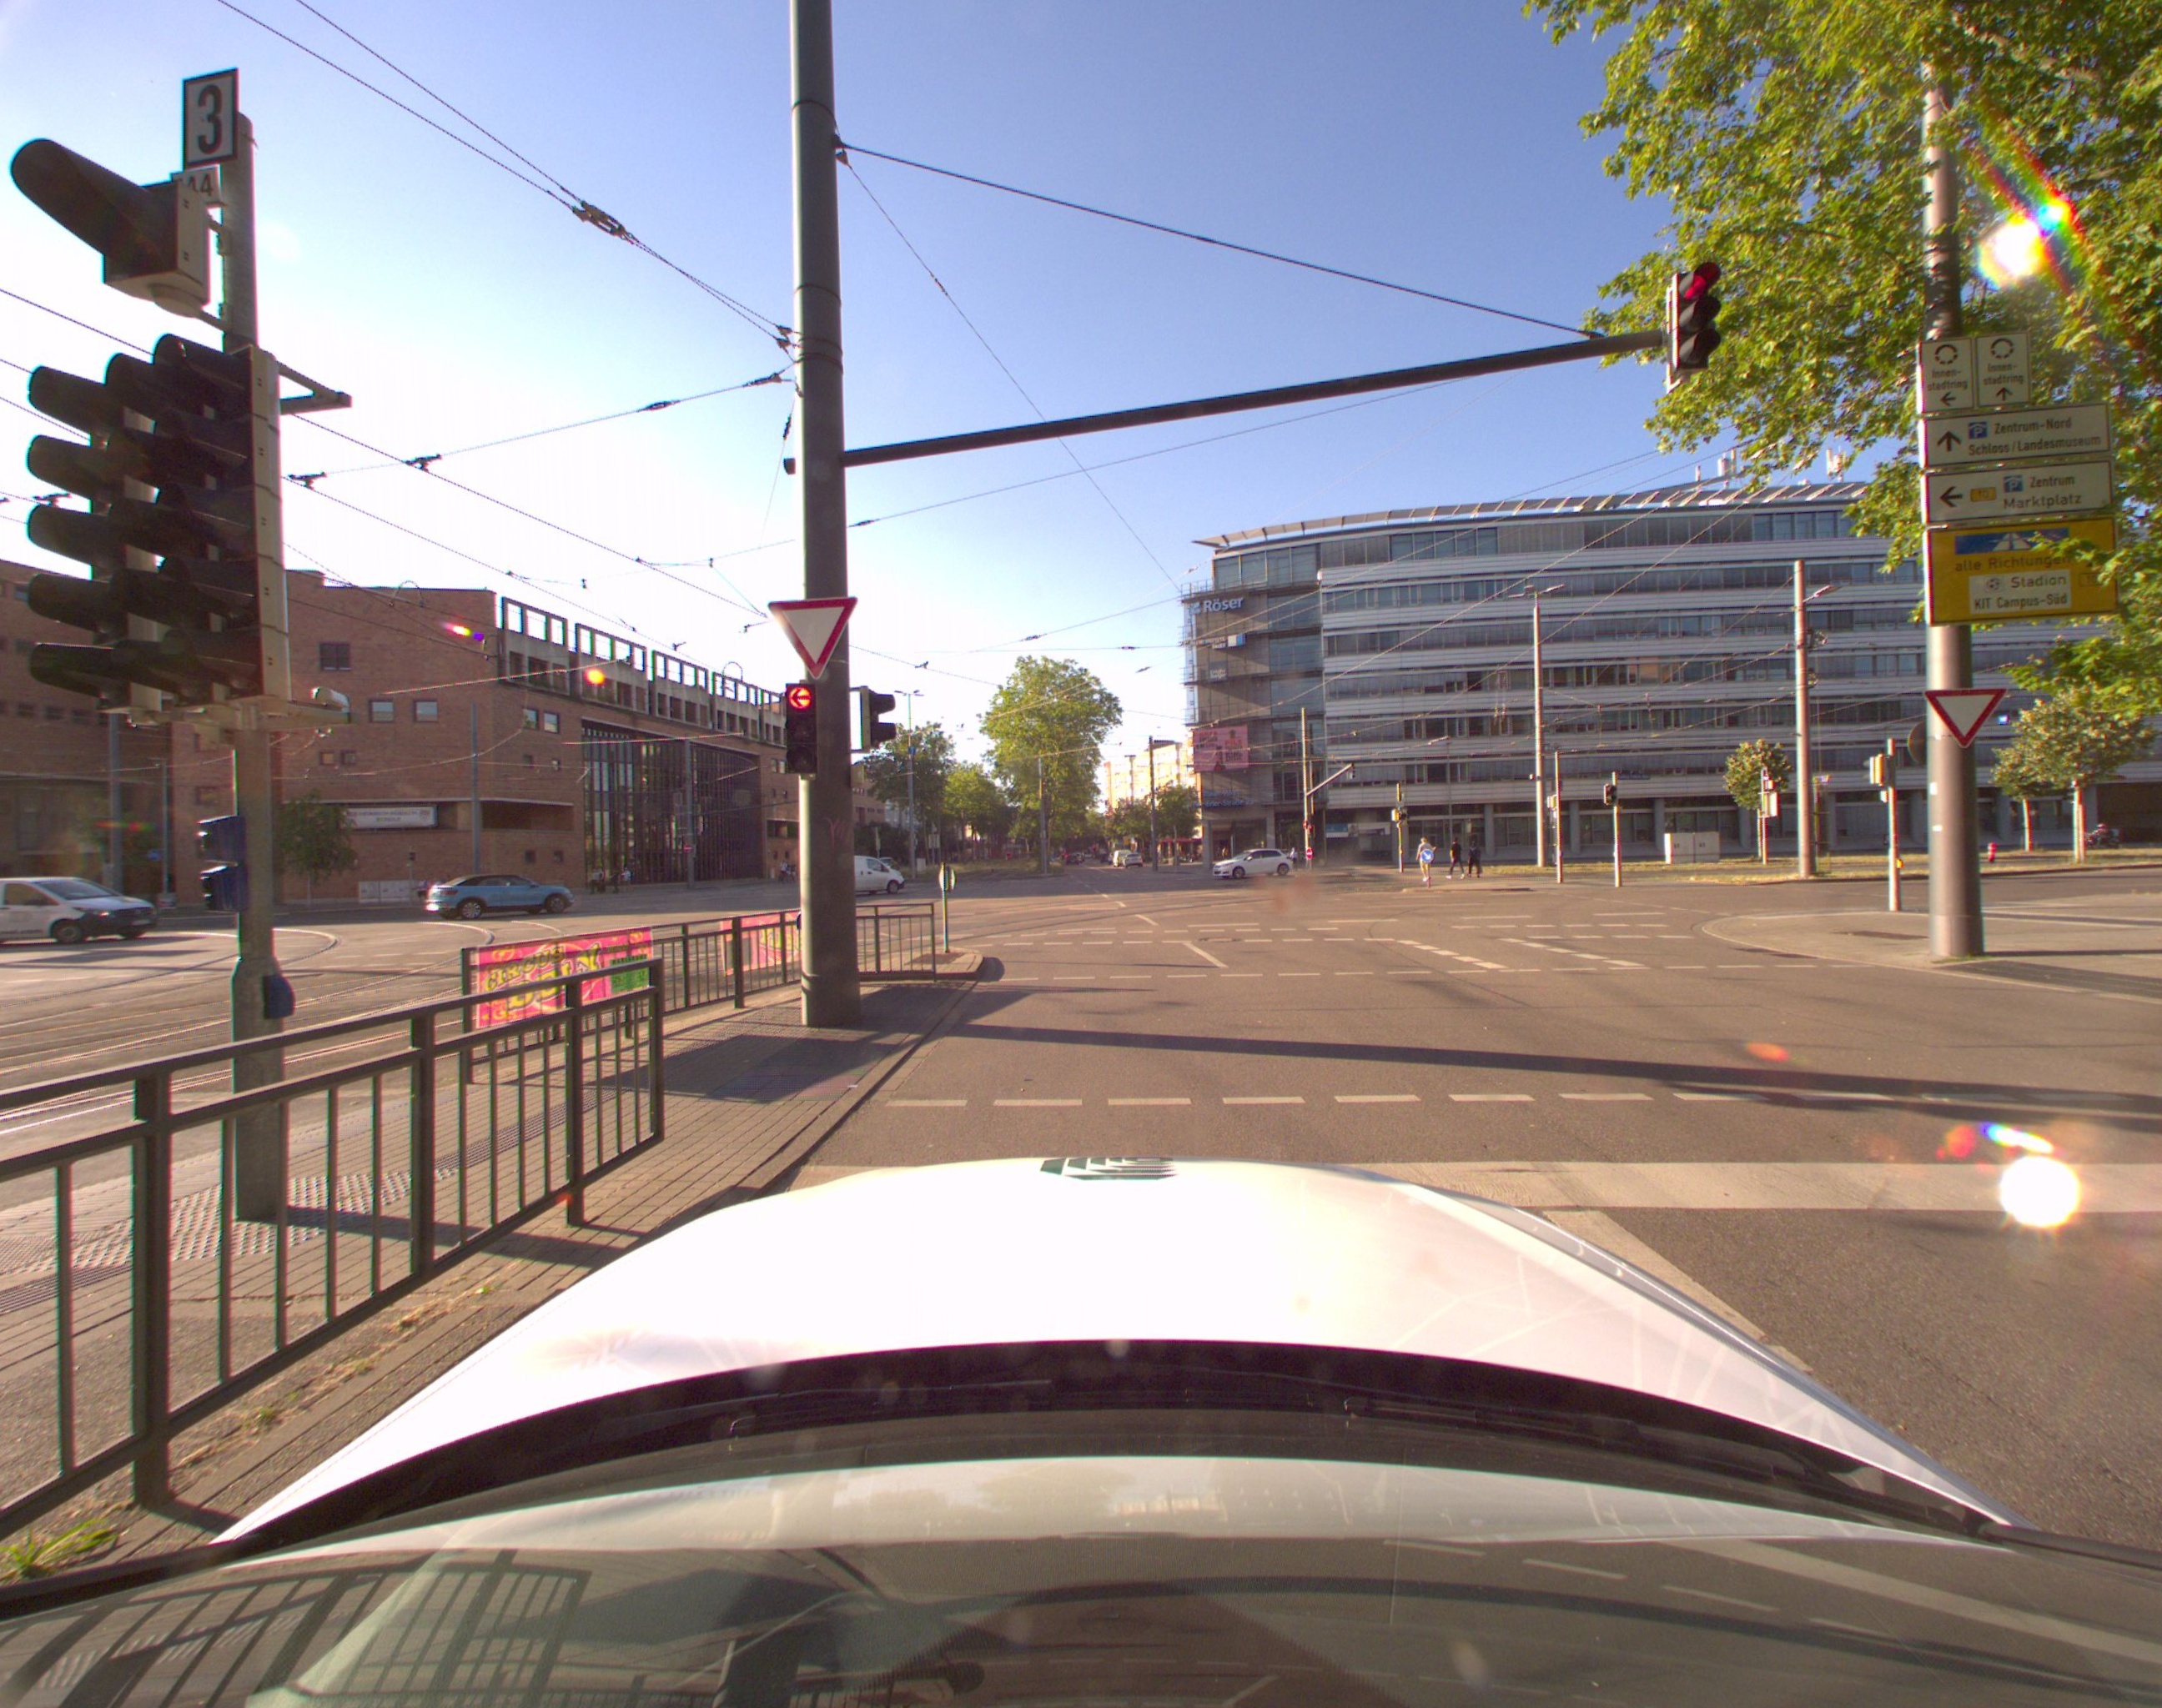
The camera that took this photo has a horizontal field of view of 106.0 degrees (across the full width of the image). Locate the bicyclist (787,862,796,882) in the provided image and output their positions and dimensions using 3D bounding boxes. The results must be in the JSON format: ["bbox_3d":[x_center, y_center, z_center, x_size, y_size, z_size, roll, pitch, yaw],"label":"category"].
[{"bbox_3d":[-23.620,1.429,66.515,0.456,1.603,0.581,-2,0,1],"label":"bicyclist"}]

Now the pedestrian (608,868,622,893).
[{"bbox_3d":[-31.687,1.805,55.349,0.587,1.683,0.551,-2,0,4],"label":"pedestrian"}]

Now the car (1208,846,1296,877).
[{"bbox_3d":[9.176,0.412,43.854,4.300,1.488,1.753,-2,0,-13],"label":"car"}]

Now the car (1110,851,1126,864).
[{"bbox_3d":[4.819,0.481,105.285,1.986,1.618,4.002,-2,0,2],"label":"car"}]

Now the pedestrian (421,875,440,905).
[{"bbox_3d":[-37.555,2.078,47.053,0.597,1.648,0.549,-2,0,1],"label":"pedestrian"}]

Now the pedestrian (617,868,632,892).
[{"bbox_3d":[-32.073,1.828,57.227,0.609,1.625,0.618,-2,0,-1],"label":"pedestrian"}]

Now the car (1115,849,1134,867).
[{"bbox_3d":[4.743,0.452,89.629,1.986,1.860,4.002,-2,0,2],"label":"car"}]

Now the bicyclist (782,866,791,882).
[{"bbox_3d":[-25.069,1.679,69.331,0.503,1.304,0.581,-2,0,1],"label":"bicyclist"}]

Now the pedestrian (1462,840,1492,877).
[{"bbox_3d":[17.465,0.186,35.928,0.943,1.564,0.899,-2,0,9],"label":"pedestrian"}]

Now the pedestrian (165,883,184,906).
[{"bbox_3d":[-59.275,2.650,53.238,0.532,1.463,0.589,-2,0,-10],"label":"pedestrian"}]

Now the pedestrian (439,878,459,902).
[{"bbox_3d":[-36.537,2.070,47.082,0.597,1.339,0.684,-2,0,17],"label":"pedestrian"}]

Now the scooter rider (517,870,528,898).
[{"bbox_3d":[-33.715,1.804,49.169,0.441,1.647,0.226,-2,0,-44],"label":"scooter rider"}]

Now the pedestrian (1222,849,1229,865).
[{"bbox_3d":[14.014,0.254,78.913,0.608,1.507,0.580,-2,0,9],"label":"pedestrian"}]

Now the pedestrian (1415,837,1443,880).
[{"bbox_3d":[14.747,0.185,34.535,0.858,1.788,0.874,-2,0,9],"label":"pedestrian"}]

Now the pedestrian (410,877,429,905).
[{"bbox_3d":[-38.449,2.136,47.324,0.594,1.614,0.589,-2,0,1],"label":"pedestrian"}]

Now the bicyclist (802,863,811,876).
[{"bbox_3d":[-24.374,1.385,72.288,0.503,1.179,0.581,-2,0,1],"label":"bicyclist"}]

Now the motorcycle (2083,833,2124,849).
[{"bbox_3d":[56.969,-0.702,45.377,1.560,0.810,0.468,-2,0,6],"label":"motorcycle"}]

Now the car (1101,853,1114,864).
[{"bbox_3d":[4.091,0.662,126.767,1.986,1.618,4.002,-2,0,2],"label":"car"}]

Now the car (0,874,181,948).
[{"bbox_3d":[-29.114,1.603,22.628,5.316,1.848,1.959,-2,0,-12],"label":"car"}]

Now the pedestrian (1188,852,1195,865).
[{"bbox_3d":[14.199,0.569,104.889,0.741,1.714,0.612,-2,0,1],"label":"pedestrian"}]

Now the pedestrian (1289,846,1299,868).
[{"bbox_3d":[15.243,0.225,58.275,0.608,1.507,0.580,-2,0,9],"label":"pedestrian"}]

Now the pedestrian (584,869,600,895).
[{"bbox_3d":[-33.230,1.913,55.364,0.643,1.683,0.625,-2,0,23],"label":"pedestrian"}]

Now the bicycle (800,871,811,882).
[{"bbox_3d":[-24.398,1.973,72.229,0.449,0.963,1.348,-2,0,2],"label":"bicycle"}]

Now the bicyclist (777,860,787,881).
[{"bbox_3d":[-24.340,1.341,66.243,0.534,1.731,0.581,-2,0,1],"label":"bicyclist"}]

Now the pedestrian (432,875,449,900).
[{"bbox_3d":[-38.037,1.964,48.347,0.568,1.453,0.612,-2,0,-13],"label":"pedestrian"}]

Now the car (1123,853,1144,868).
[{"bbox_3d":[5.289,0.623,82.812,1.986,1.376,4.002,-2,0,2],"label":"car"}]

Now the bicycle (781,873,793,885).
[{"bbox_3d":[-25.064,2.113,69.342,0.466,0.963,1.320,-2,0,2],"label":"bicycle"}]

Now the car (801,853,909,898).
[{"bbox_3d":[-10.372,0.967,37.643,1.739,1.867,4.554,-2,0,40],"label":"car"}]

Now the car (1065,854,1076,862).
[{"bbox_3d":[-1.875,0.801,147.336,1.792,1.442,3.999,0,-1,0],"label":"car"}]

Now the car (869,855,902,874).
[{"bbox_3d":[-18.117,0.963,75.517,1.987,1.640,4.001,-2,0,1],"label":"car"}]

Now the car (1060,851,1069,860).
[{"bbox_3d":[-3.974,0.354,197.416,1.986,2.013,4.001,-2,0,1],"label":"car"}]

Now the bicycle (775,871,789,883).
[{"bbox_3d":[-24.342,1.853,66.301,0.540,0.963,1.587,-2,0,2],"label":"bicycle"}]

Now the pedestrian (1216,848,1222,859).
[{"bbox_3d":[21.291,-0.104,125.976,0.741,1.714,0.612,-2,0,1],"label":"pedestrian"}]

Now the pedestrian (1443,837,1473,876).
[{"bbox_3d":[16.704,0.120,36.094,0.907,1.685,1.038,-2,0,9],"label":"pedestrian"}]

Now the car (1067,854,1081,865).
[{"bbox_3d":[-1.049,0.821,117.893,1.791,1.442,4.002,-2,0,2],"label":"car"}]

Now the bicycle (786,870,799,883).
[{"bbox_3d":[-23.561,1.834,66.523,0.471,0.963,1.576,-2,0,2],"label":"bicycle"}]

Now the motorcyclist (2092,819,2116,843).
[{"bbox_3d":[57.013,-1.273,45.378,0.708,1.275,0.460,-2,0,5],"label":"motorcyclist"}]

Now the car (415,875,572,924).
[{"bbox_3d":[-20.547,1.536,28.660,1.611,1.426,4.129,-2,0,33],"label":"car"}]

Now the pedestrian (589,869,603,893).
[{"bbox_3d":[-33.707,1.866,56.609,0.570,1.683,0.549,-2,0,2],"label":"pedestrian"}]
